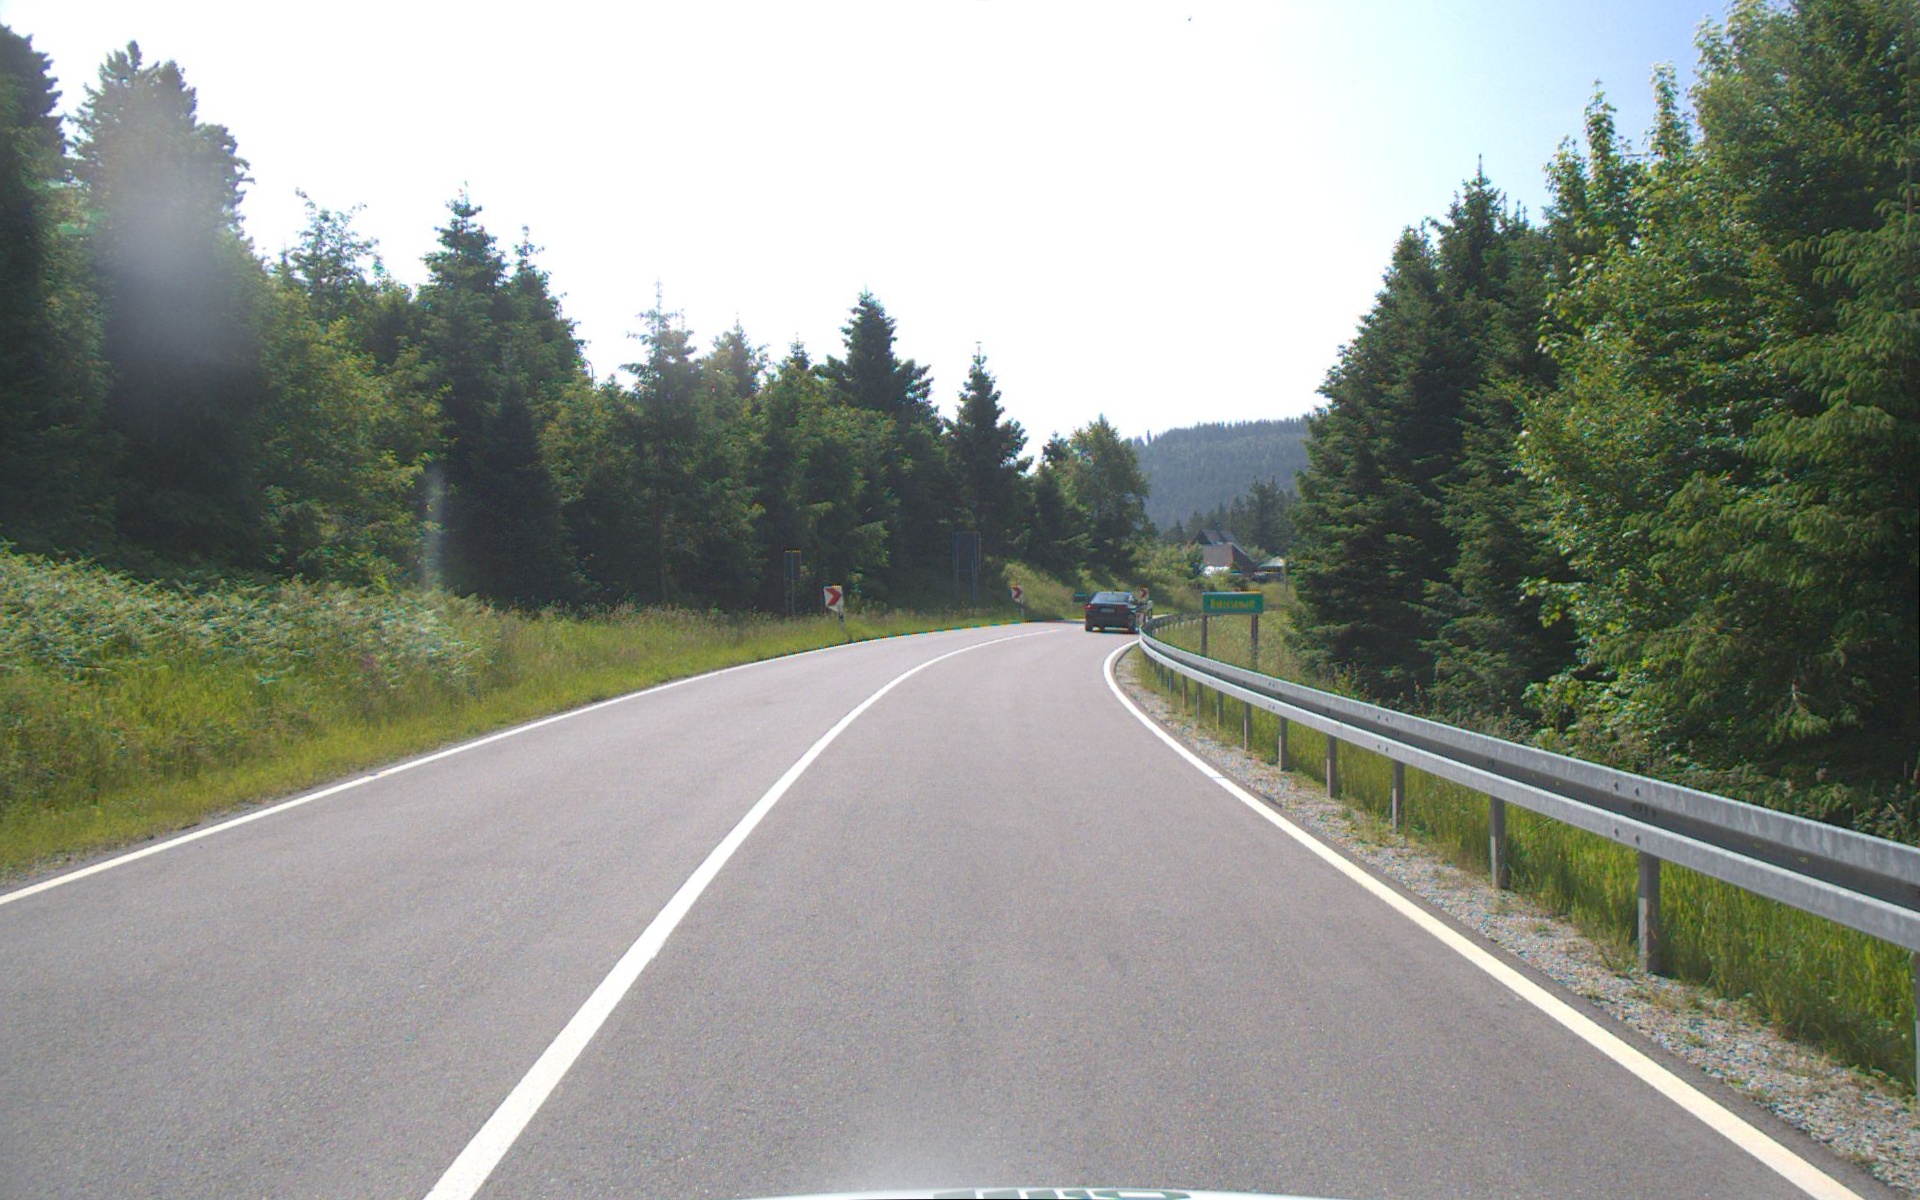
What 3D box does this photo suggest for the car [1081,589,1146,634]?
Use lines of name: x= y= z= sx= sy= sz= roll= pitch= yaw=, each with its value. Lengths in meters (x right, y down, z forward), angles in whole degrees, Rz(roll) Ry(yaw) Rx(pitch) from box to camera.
car: x=5.546 y=0.377 z=59.301 sx=1.738 sy=1.467 sz=3.712 roll=2 pitch=1 yaw=14
